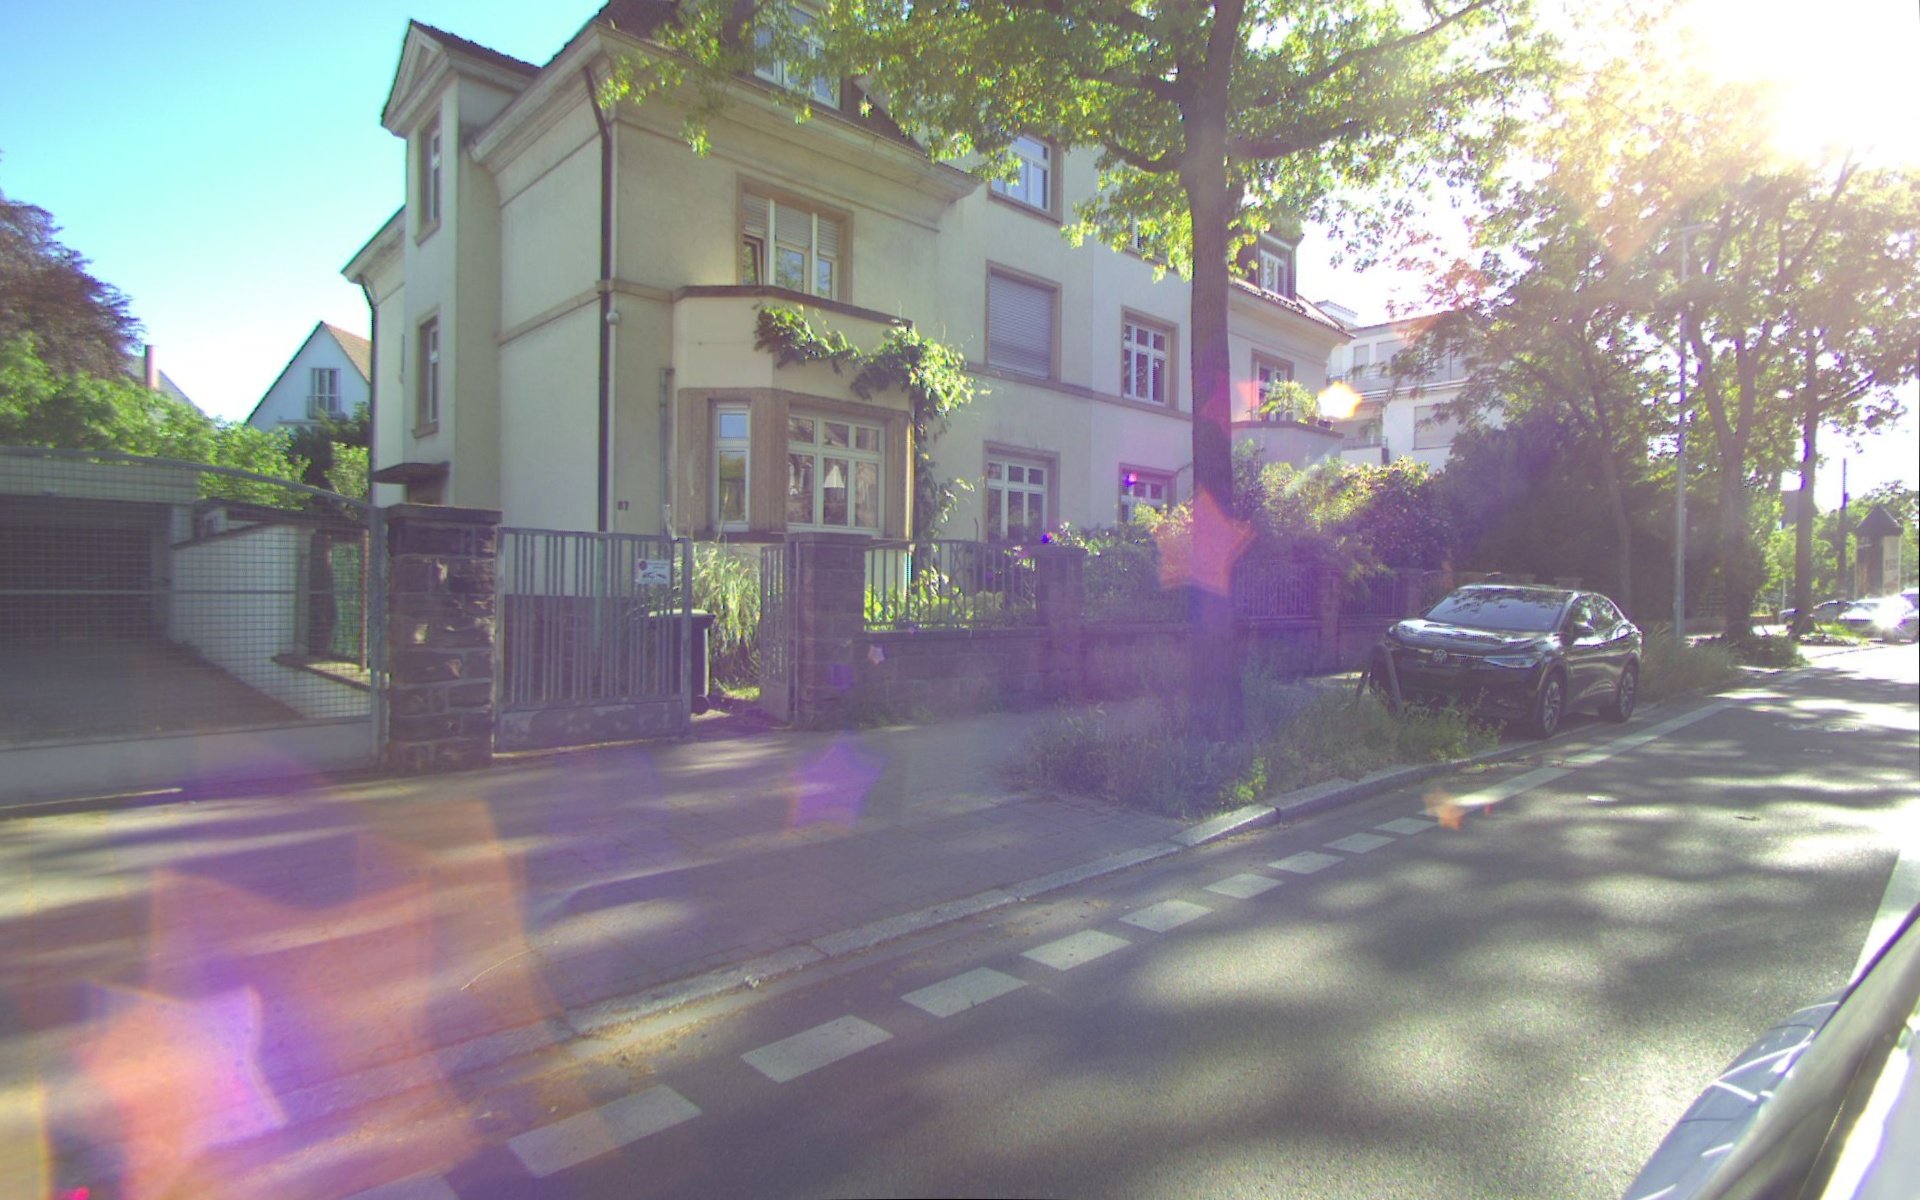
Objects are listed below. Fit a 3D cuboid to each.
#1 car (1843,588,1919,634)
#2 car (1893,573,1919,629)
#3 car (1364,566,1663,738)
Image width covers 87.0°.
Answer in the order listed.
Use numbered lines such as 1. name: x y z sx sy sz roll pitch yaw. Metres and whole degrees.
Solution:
1. car: 31.563 0.333 34.411 3.930 1.469 1.785 0 1 -41
2. car: 36.799 0.046 38.072 4.503 2.039 1.997 0 1 -41
3. car: 6.677 0.491 12.044 4.020 1.626 1.743 0 4 -41
